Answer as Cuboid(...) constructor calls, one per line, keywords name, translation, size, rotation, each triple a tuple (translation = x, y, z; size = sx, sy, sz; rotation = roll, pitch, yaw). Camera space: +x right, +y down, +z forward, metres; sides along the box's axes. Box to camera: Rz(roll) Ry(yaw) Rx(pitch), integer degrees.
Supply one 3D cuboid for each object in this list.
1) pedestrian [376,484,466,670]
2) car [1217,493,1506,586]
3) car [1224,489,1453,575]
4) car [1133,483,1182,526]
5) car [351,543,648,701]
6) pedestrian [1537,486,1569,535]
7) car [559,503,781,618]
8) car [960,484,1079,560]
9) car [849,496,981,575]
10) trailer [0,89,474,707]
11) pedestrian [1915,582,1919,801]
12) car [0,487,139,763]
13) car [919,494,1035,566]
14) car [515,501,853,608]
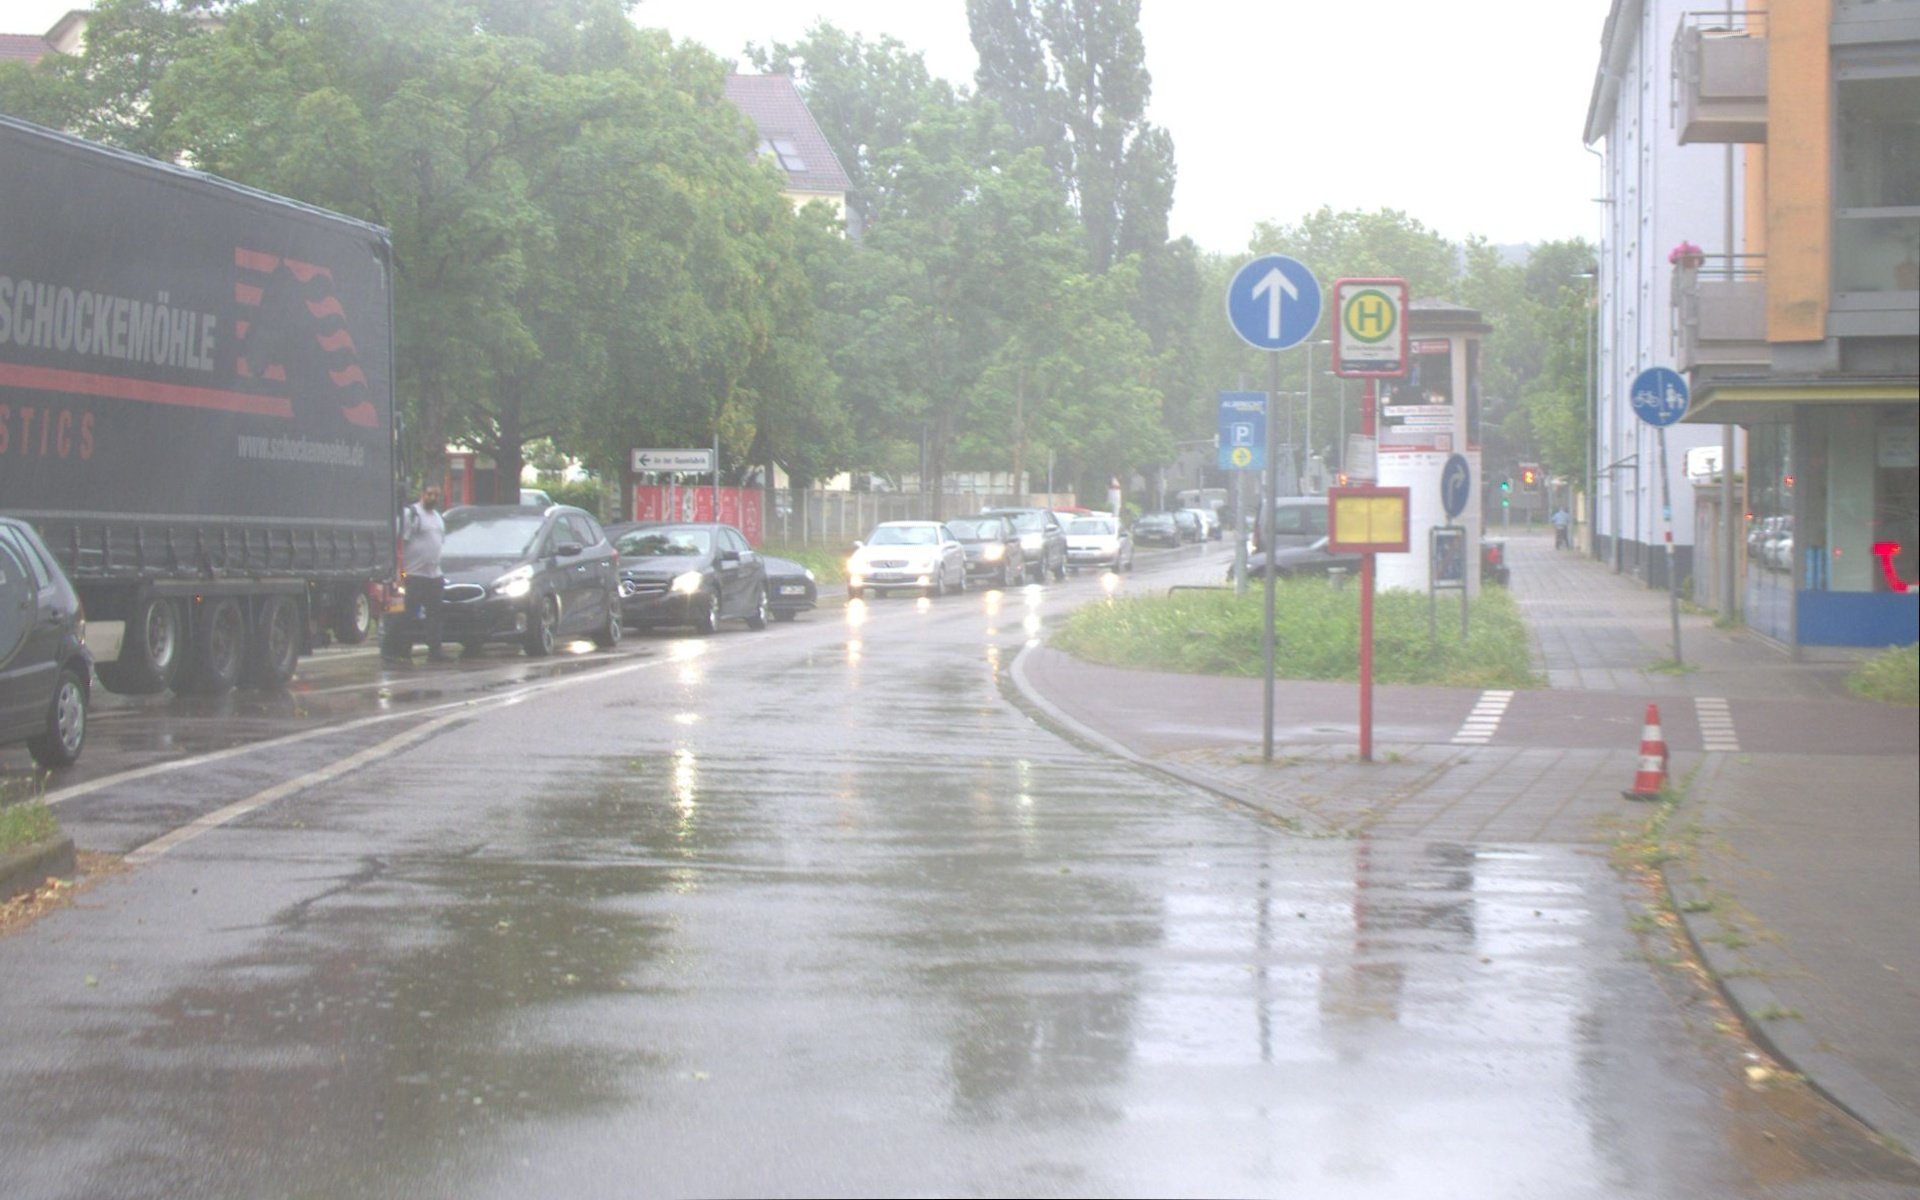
Cuboid(name="pedestrian", translation=(-5.418, -0.246, 34.570), size=(0.868, 1.837, 0.992), rotation=(0, 2, -9))
Cuboid(name="car", translation=(6.477, -0.977, 55.293), size=(4.535, 1.465, 1.983), rotation=(0, 1, 9))
Cuboid(name="car", translation=(7.087, -1.287, 64.303), size=(4.191, 1.563, 1.888), rotation=(0, 2, 7))
Cuboid(name="car", translation=(7.762, -3.762, 135.269), size=(1.775, 1.524, 4.001), rotation=(1, 4, 2))
Cuboid(name="car", translation=(-4.966, 0.209, 37.764), size=(1.868, 1.614, 4.800), rotation=(0, 0, 10))
Cuboid(name="pedestrian", translation=(22.031, -3.335, 127.793), size=(1.063, 1.804, 1.094), rotation=(0, 2, 5))
Cuboid(name="car", translation=(-3.649, -0.537, 44.004), size=(1.727, 1.356, 4.336), rotation=(0, 2, 11))
Cuboid(name="car", translation=(1.386, -1.785, 78.134), size=(1.915, 1.634, 4.820), rotation=(1, 2, 10))
Cuboid(name="car", translation=(-0.795, -1.229, 64.197), size=(1.775, 1.398, 4.829), rotation=(1, 2, 7))
Cuboid(name="trailer", translation=(-7.518, -1.433, 25.556), size=(3.443, 4.035, 15.046), rotation=(0, 2, 9))
Cuboid(name="pedestrian", translation=(5.840, 0.211, 18.565), size=(1.171, 1.858, 1.385), rotation=(1, 2, 11))
Cuboid(name="car", translation=(-5.675, 0.130, 17.433), size=(1.698, 1.368, 4.099), rotation=(1, 2, 6))
Cuboid(name="car", translation=(0.383, -1.479, 71.371), size=(1.779, 1.415, 4.264), rotation=(0, 2, 9))
Cuboid(name="car", translation=(-4.075, -0.697, 50.201), size=(4.924, 1.449, 2.081), rotation=(2, 3, 41))
